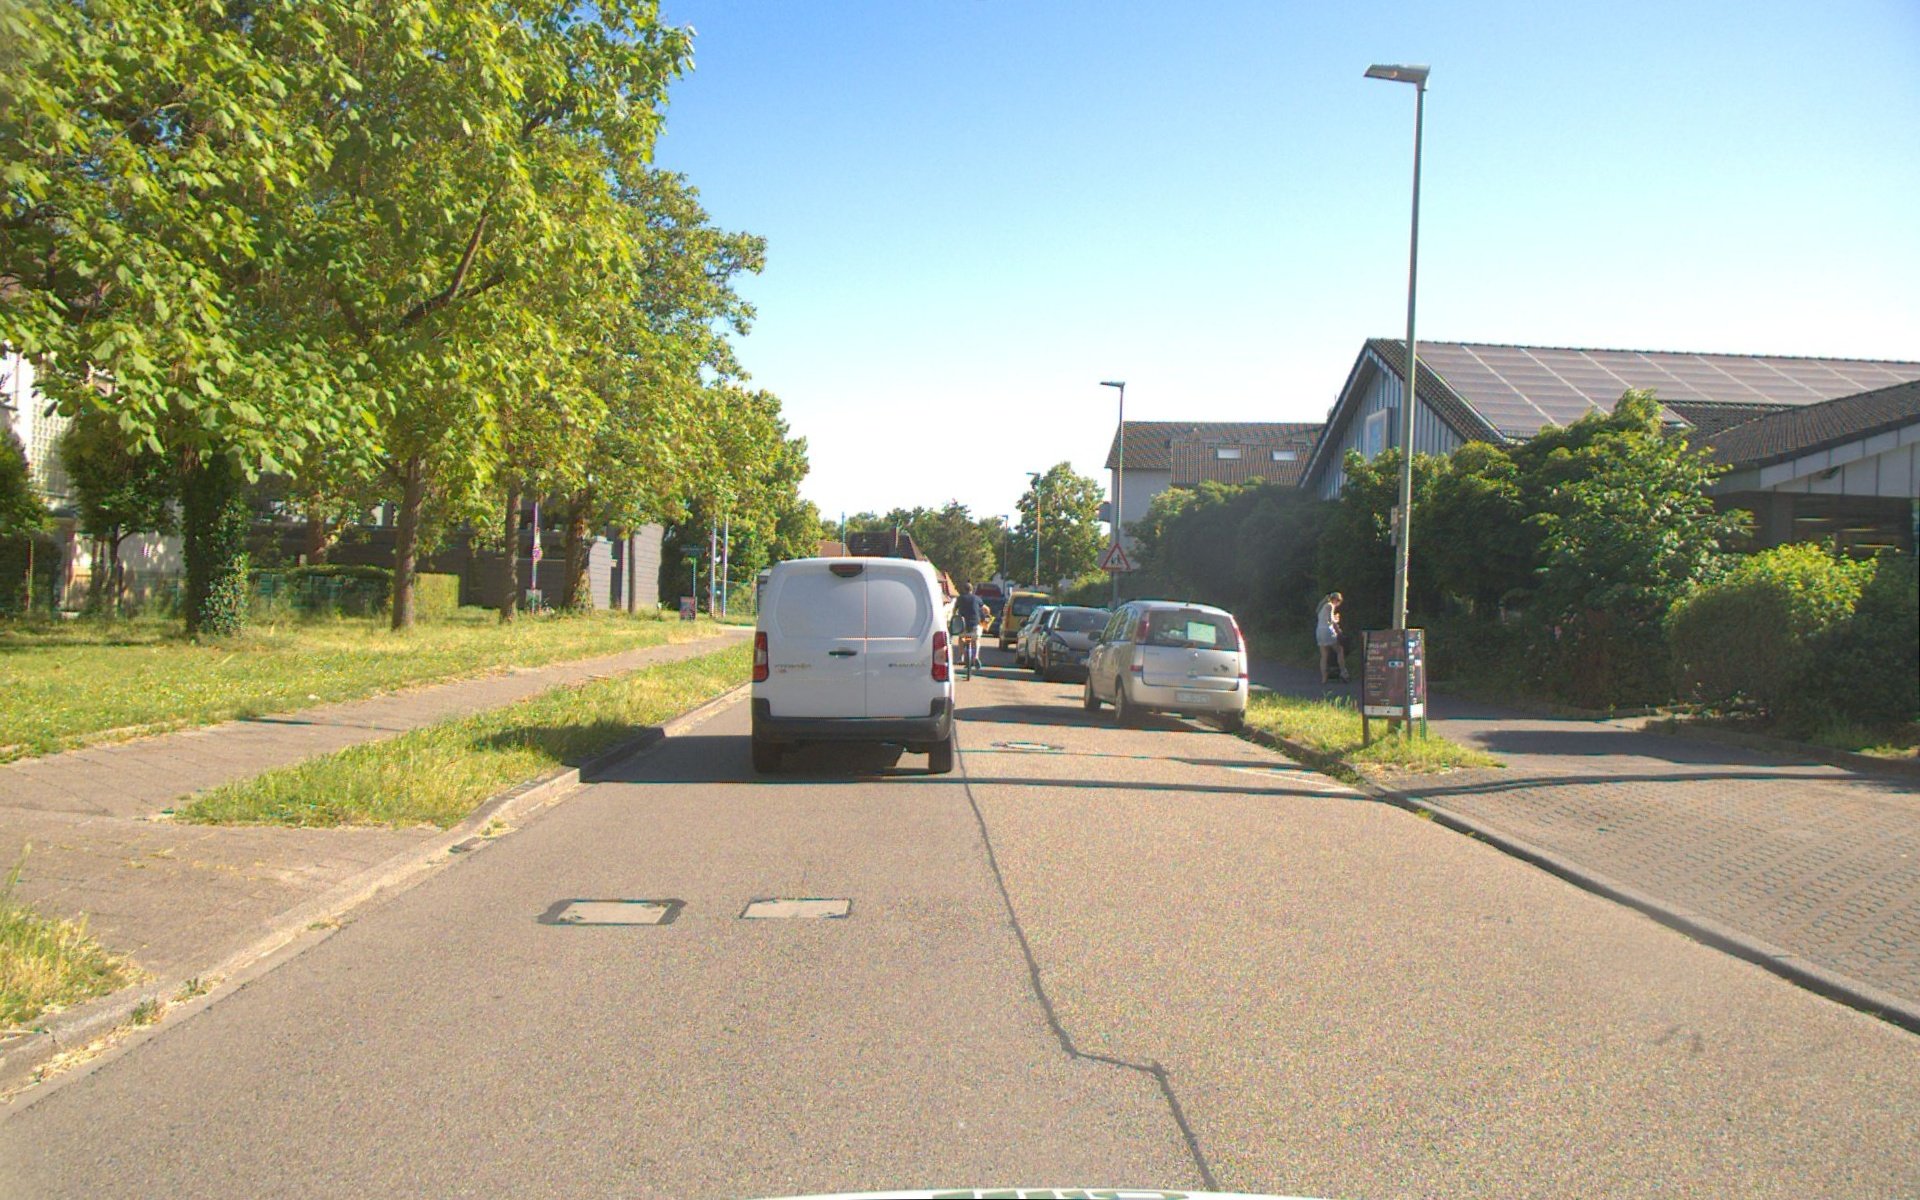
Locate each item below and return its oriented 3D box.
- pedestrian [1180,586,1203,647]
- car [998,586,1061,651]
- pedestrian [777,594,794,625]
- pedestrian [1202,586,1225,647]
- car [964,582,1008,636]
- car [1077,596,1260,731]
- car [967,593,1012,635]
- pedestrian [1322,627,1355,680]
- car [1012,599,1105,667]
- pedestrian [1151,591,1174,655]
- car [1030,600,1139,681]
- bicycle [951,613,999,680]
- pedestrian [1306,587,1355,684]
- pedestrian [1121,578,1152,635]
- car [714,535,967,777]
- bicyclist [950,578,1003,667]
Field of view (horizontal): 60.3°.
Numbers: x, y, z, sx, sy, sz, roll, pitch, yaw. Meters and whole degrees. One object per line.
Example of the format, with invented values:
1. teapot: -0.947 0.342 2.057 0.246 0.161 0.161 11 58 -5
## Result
1. pedestrian: 6.461 0.461 46.242 0.555 1.665 0.547 2 0 4
2. car: 2.112 0.557 51.314 1.689 1.869 3.999 2 0 0
3. pedestrian: -8.325 0.443 79.071 0.500 1.471 0.637 2 0 32
4. pedestrian: 7.073 0.461 46.192 0.555 1.665 0.547 2 0 4
5. car: 1.322 0.484 85.285 1.829 2.607 4.764 4 -1 -3
6. car: 2.753 0.809 22.644 1.647 1.627 4.024 2 -1 -5
7. car: 1.369 0.662 78.113 1.768 1.816 3.997 4 -1 -3
8. pedestrian: 7.407 1.033 32.366 0.521 0.997 0.811 2 0 6
9. car: 2.325 0.761 39.860 1.790 1.477 3.998 2 0 -3
10. pedestrian: 5.406 0.608 44.150 0.555 1.665 0.547 2 0 4
11. car: 2.467 0.779 33.712 1.771 1.468 4.362 2 0 -1
12. bicycle: 0.267 0.843 30.958 0.771 1.158 2.279 2 0 -2
13. pedestrian: 7.067 0.665 31.574 0.781 1.813 0.809 2 0 7
14. pedestrian: 5.962 0.228 55.808 0.779 1.894 0.873 2 0 -9
15. car: -0.964 0.445 15.641 1.952 1.914 4.289 2 0 1
16. bicyclist: 0.296 0.430 31.018 0.887 1.612 0.966 2 -1 -3
